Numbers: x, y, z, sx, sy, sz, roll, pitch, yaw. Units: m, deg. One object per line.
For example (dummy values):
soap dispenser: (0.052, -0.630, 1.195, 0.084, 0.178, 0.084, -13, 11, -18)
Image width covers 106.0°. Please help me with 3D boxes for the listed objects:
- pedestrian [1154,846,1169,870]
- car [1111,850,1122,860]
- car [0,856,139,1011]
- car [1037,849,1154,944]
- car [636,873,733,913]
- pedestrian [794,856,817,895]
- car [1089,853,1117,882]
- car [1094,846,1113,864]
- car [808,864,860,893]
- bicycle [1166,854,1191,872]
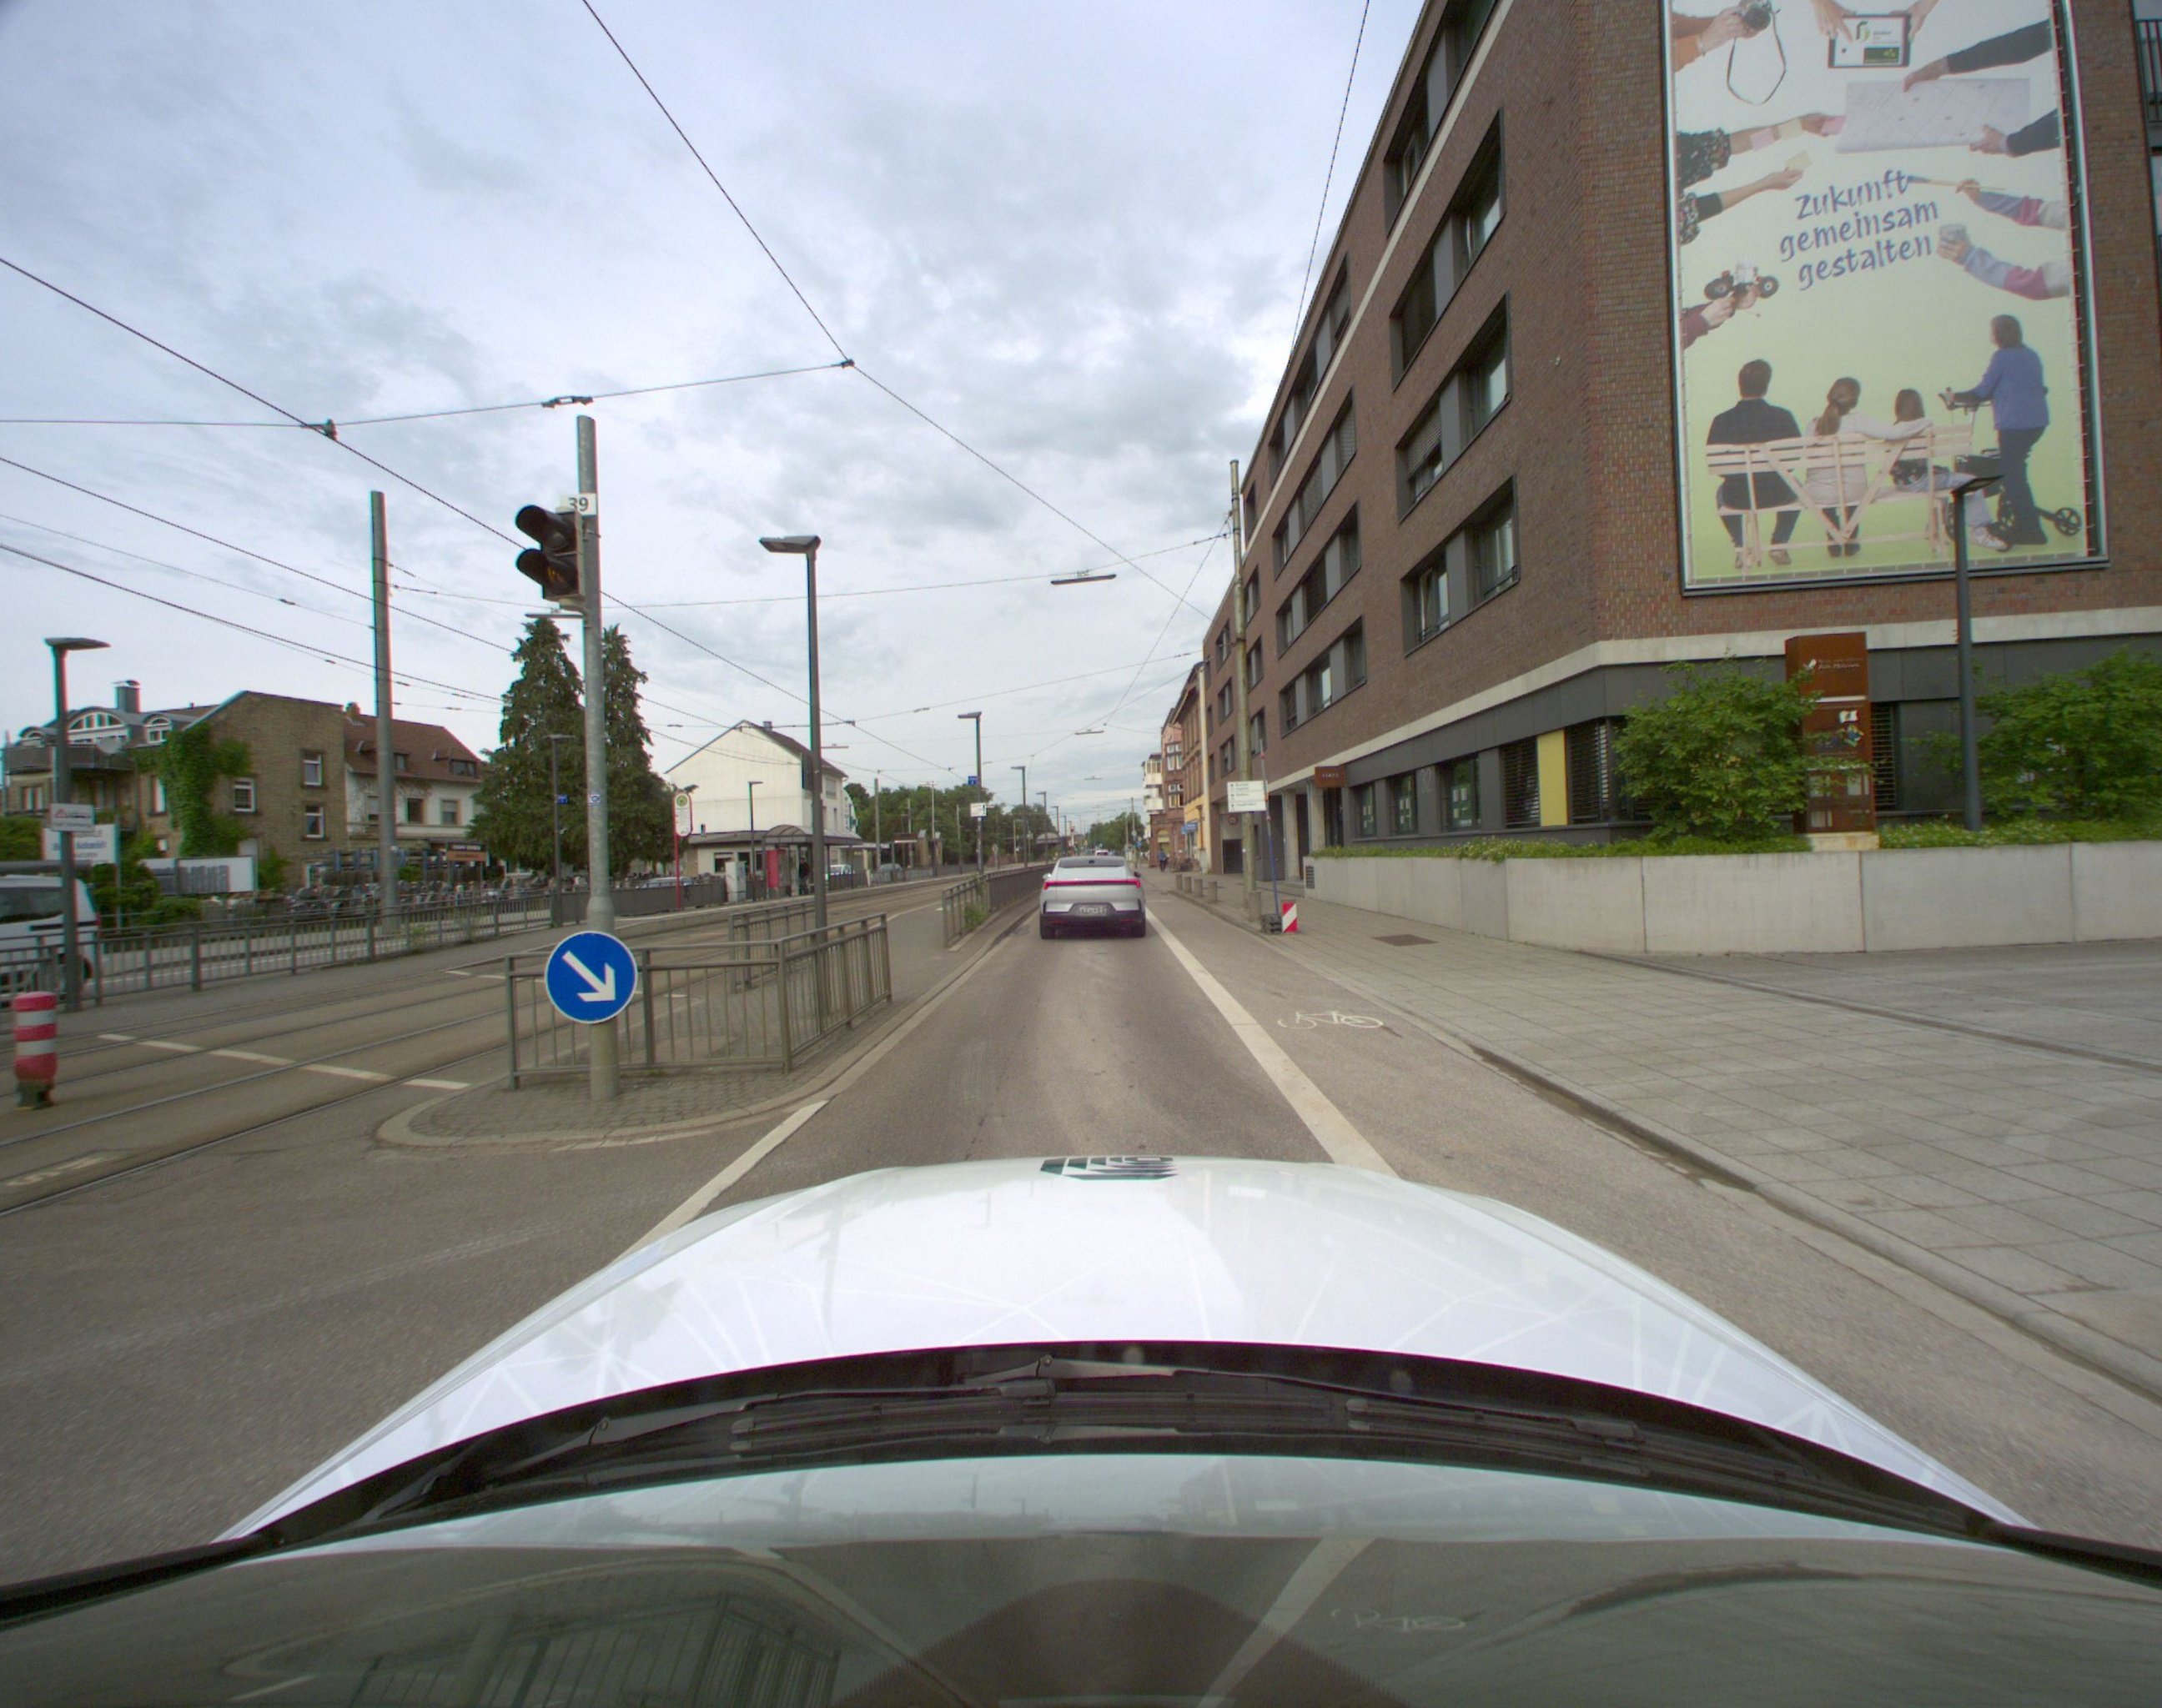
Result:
pedestrian: (6.353, 0.311, 64.135, 0.955, 1.850, 0.977, -4, 0, 7)
car: (9.468, 0.201, 220.141, 2.797, 2.505, 5.724, -1, -1, 1)
car: (-14.809, 1.062, 9.745, 1.881, 1.988, 4.519, -3, 0, -4)
car: (0.154, 0.755, 16.075, 1.995, 1.581, 3.995, -1, -1, -3)
car: (-15.121, 1.453, 31.262, 1.744, 1.299, 3.833, -3, 0, 0)
pedestrian: (-11.949, 0.909, 35.277, 0.609, 1.664, 0.702, -2, -1, 38)
car: (1.383, 0.844, 51.558, 1.675, 1.687, 3.825, -1, -1, 2)
car: (3.013, 0.193, 111.851, 2.220, 2.402, 5.119, -1, -1, -2)
car: (-15.111, 1.456, 50.026, 1.858, 1.486, 4.000, -5, 0, 0)
bicycle: (7.280, 0.673, 60.925, 1.772, 1.129, 0.642, -5, 0, 0)
